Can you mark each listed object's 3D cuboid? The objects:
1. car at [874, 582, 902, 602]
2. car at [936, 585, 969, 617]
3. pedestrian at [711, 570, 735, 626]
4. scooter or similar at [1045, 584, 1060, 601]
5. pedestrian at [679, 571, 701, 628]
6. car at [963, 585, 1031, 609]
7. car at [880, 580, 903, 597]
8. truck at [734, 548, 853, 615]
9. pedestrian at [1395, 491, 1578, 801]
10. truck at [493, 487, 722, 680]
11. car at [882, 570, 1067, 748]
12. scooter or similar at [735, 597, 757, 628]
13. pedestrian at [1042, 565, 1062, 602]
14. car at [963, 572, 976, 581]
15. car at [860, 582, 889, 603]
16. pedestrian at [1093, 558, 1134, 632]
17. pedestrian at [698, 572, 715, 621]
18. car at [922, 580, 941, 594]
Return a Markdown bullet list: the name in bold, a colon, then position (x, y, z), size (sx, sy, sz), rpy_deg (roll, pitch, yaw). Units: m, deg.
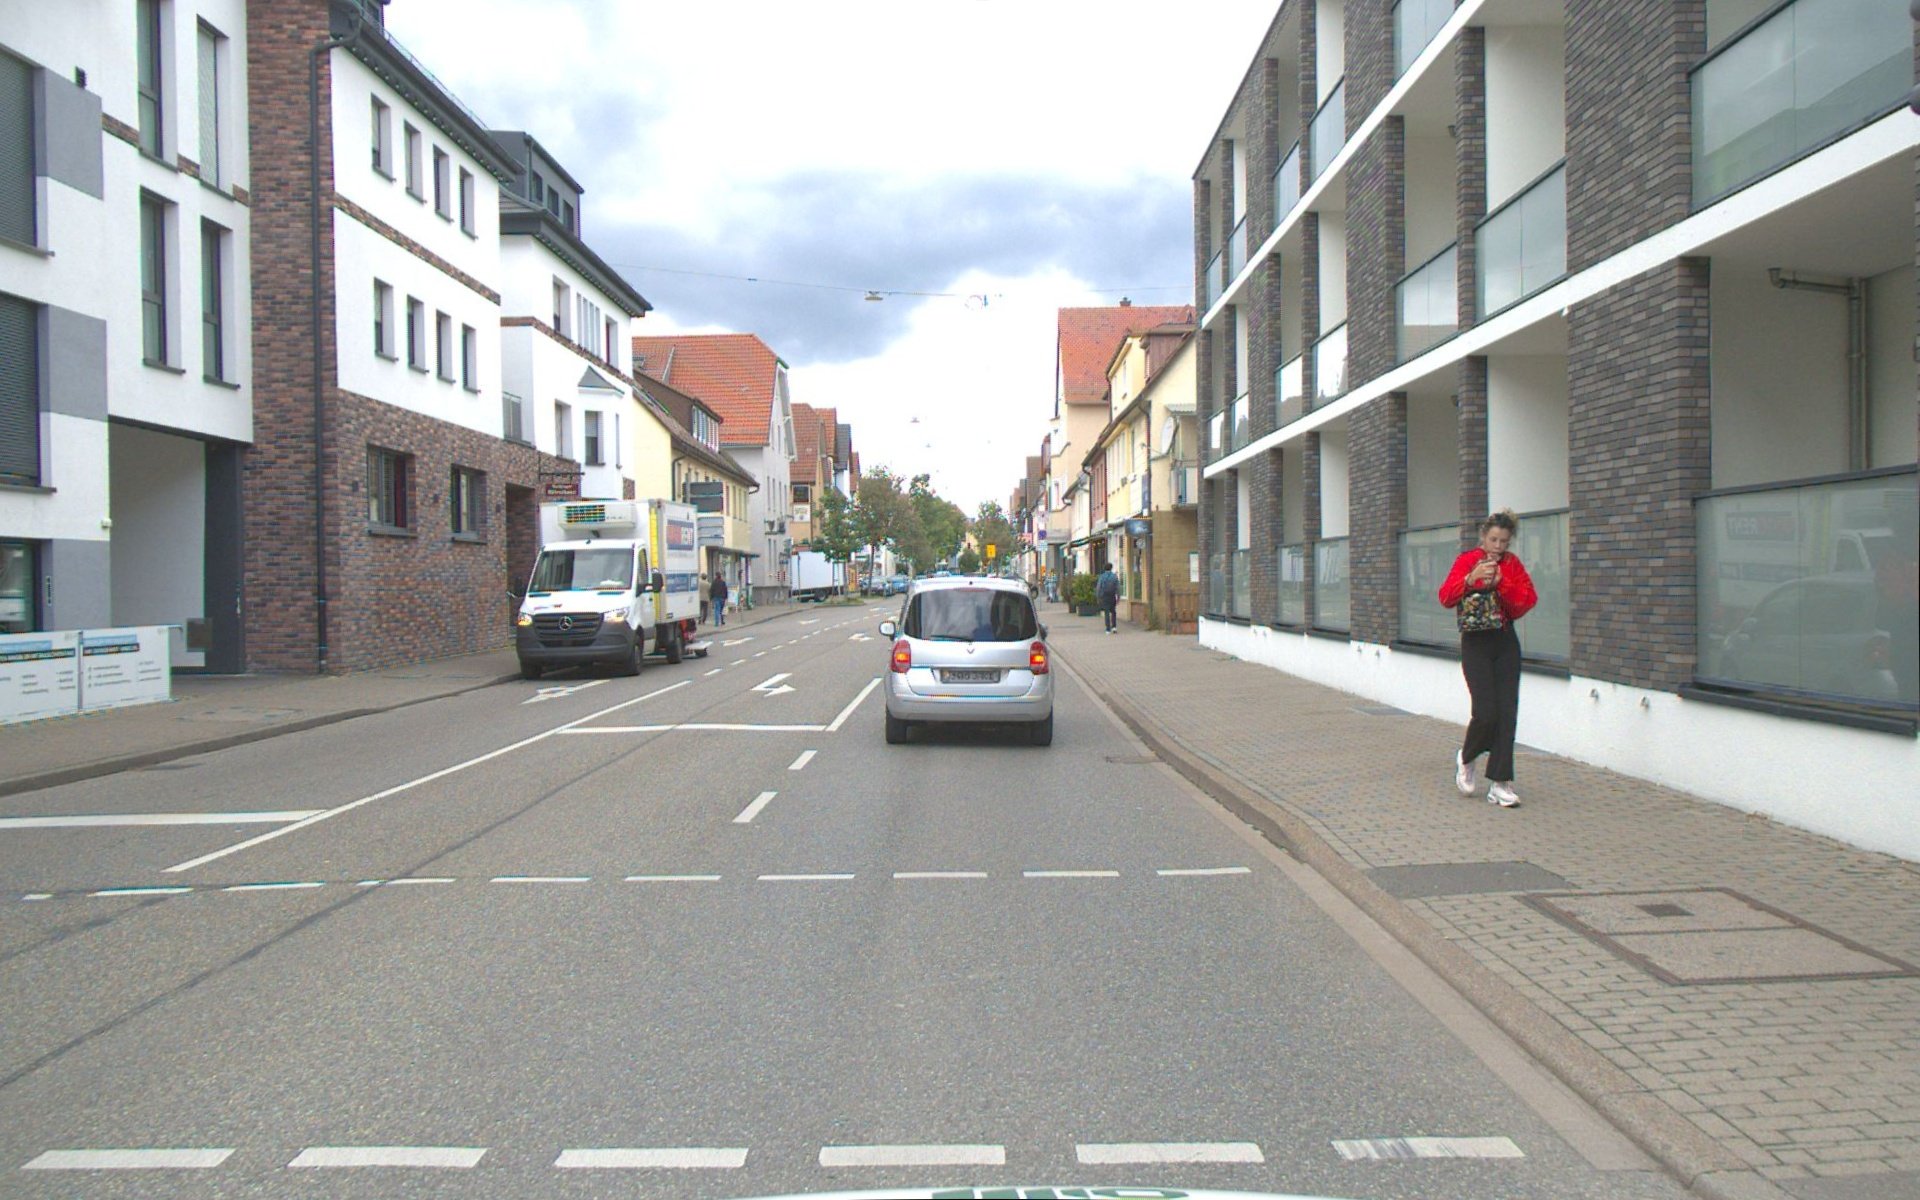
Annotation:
- **car**: position (-5.313, -0.620, 122.668), size (1.775, 1.377, 4.000), rpy_deg (-1, 1, 1)
- **car**: position (-0.402, 0.019, 88.011), size (1.672, 1.606, 4.000), rpy_deg (1, 1, 0)
- **pedestrian**: position (-7.574, -0.068, 52.931), size (0.649, 1.787, 0.688), rpy_deg (1, 0, 0)
- **scooter or similar**: position (4.775, -0.387, 85.262), size (0.666, 0.847, 0.823), rpy_deg (-3, 1, 0)
- **pedestrian**: position (-8.708, -0.020, 53.332), size (0.567, 1.787, 0.688), rpy_deg (1, 0, 0)
- **car**: position (2.145, -0.181, 96.080), size (3.676, 1.337, 1.511), rpy_deg (1, 0, -21)
- **car**: position (-5.989, -0.989, 144.247), size (1.775, 1.377, 4.000), rpy_deg (-1, 1, 1)
- **truck**: position (-10.077, -1.160, 100.517), size (6.774, 3.925, 2.570), rpy_deg (-2, 1, -37)
- **pedestrian**: position (3.277, 0.273, 10.373), size (0.791, 1.818, 0.861), rpy_deg (-3, 0, 0)
- **truck**: position (-6.243, -0.313, 30.626), size (2.385, 3.005, 8.364), rpy_deg (-2, 1, 0)
- **car**: position (0.128, 0.519, 17.221), size (1.672, 1.606, 4.000), rpy_deg (1, 1, 0)
- **scooter or similar**: position (-9.549, 0.541, 73.858), size (0.563, 1.291, 2.549), rpy_deg (-1, 1, 1)
- **pedestrian**: position (4.696, -0.847, 84.460), size (0.871, 1.818, 0.785), rpy_deg (-3, 0, 0)
- **car**: position (1.422, -3.467, 244.569), size (1.775, 1.377, 4.000), rpy_deg (-1, 1, 1)
- **car**: position (-6.063, -0.549, 117.541), size (1.775, 1.377, 4.000), rpy_deg (-1, 1, 1)
- **pedestrian**: position (3.857, -0.131, 41.636), size (0.871, 1.818, 0.785), rpy_deg (-3, 0, 0)
- **pedestrian**: position (-8.156, -0.120, 53.229), size (0.417, 1.552, 0.553), rpy_deg (1, 0, 0)
- **car**: position (-2.929, -1.393, 169.975), size (1.775, 1.377, 3.857), rpy_deg (-1, 1, 1)
